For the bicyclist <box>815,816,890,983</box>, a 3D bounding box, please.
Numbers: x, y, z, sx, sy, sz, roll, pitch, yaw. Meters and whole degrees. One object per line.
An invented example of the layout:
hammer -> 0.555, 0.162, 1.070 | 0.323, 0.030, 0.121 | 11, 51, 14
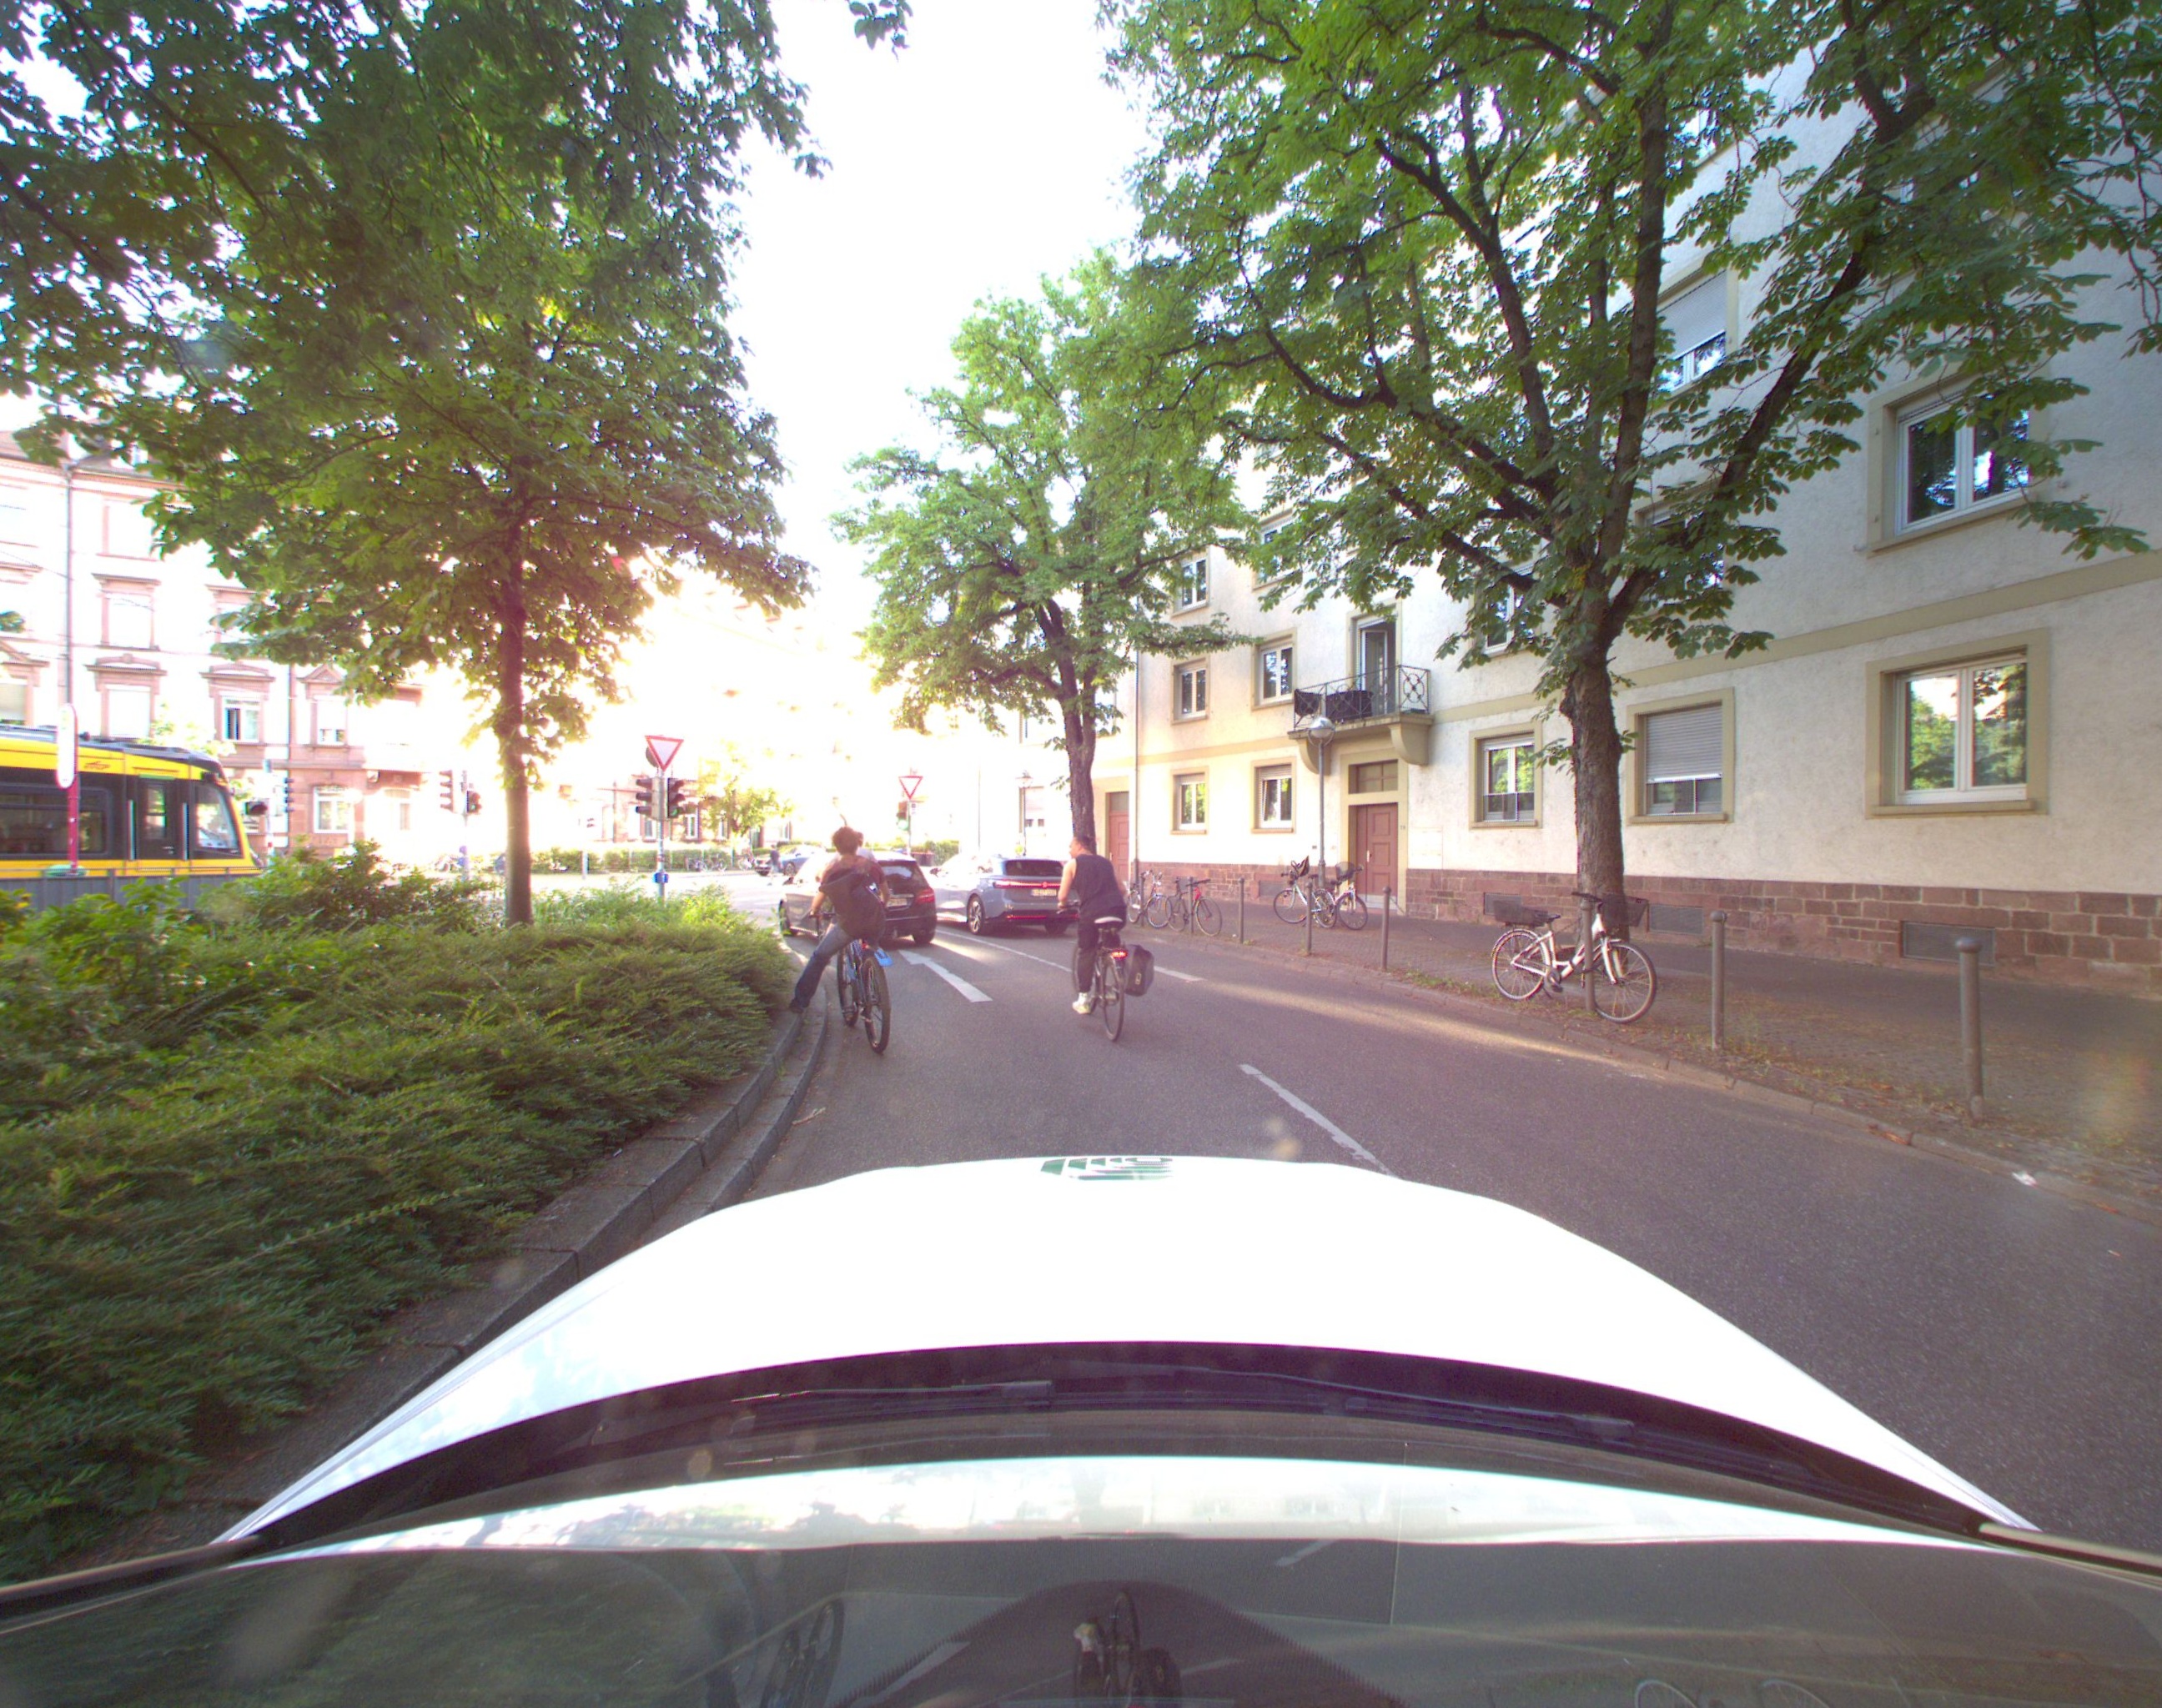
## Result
bicyclist -> -2.800, 0.525, 9.923 | 0.797, 1.913, 0.938 | 1, 0, -21

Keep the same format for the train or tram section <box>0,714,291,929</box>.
train or tram section -> -20.182, -0.561, 12.273 | 2.769, 3.619, 11.857 | 1, 0, 19

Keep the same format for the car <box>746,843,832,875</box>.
car -> -15.596, 0.230, 43.729 | 1.926, 1.650, 4.432 | 0, 0, 19

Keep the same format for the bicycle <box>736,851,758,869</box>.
bicycle -> -19.758, 0.365, 48.141 | 0.438, 1.038, 1.240 | 1, 1, 24

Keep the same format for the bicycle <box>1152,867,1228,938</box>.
bicycle -> 1.911, 0.816, 14.484 | 0.528, 1.107, 1.728 | -3, 2, -21

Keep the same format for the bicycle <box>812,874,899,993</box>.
bicycle -> -2.761, 0.867, 9.790 | 0.813, 1.184, 2.211 | 0, 0, -21

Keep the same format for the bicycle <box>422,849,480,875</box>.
bicycle -> -28.120, 0.378, 36.382 | 1.975, 1.107, 0.438 | 2, -1, -38

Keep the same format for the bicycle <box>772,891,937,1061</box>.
bicycle -> -1.958, 0.917, 6.825 | 0.722, 1.107, 1.946 | 1, 0, -35

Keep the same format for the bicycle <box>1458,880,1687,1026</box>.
bicycle -> 4.468, 0.836, 7.599 | 0.514, 1.095, 1.962 | -2, 1, -18

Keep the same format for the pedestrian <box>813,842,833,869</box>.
pedestrian -> -16.373, 0.106, 51.663 | 0.703, 1.664, 0.904 | 4, 2, 36

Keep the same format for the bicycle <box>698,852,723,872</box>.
bicycle -> -20.791, 0.426, 45.731 | 0.438, 1.107, 1.241 | 1, 1, 25

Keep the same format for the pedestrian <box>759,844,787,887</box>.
pedestrian -> -12.188, 0.441, 32.234 | 0.903, 1.635, 0.722 | 2, 1, -13

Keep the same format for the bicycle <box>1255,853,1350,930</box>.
bicycle -> 4.009, 0.642, 14.912 | 0.719, 1.277, 1.954 | -1, 1, -18

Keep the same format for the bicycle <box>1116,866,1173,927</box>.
bicycle -> 1.237, 0.815, 16.094 | 0.482, 1.063, 1.625 | -3, 2, -20

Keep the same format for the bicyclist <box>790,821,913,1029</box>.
bicyclist -> -1.919, 0.537, 6.761 | 0.712, 1.573, 0.947 | 1, 0, -34

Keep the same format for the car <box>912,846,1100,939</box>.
car -> -1.667, 0.671, 16.294 | 1.983, 1.585, 4.431 | 2, -1, -31

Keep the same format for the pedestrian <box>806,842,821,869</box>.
pedestrian -> -17.150, 0.101, 52.248 | 0.655, 1.715, 0.640 | 0, 0, 32

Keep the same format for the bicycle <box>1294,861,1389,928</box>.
bicycle -> 4.720, 0.706, 14.911 | 0.669, 1.107, 1.955 | 1, 0, -17

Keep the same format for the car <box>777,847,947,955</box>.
car -> -3.917, 0.691, 14.095 | 1.802, 1.542, 3.821 | -2, 1, -32

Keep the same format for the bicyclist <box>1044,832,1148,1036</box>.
bicyclist -> 0.105, 0.650, 7.218 | 0.687, 1.656, 0.985 | -1, 0, -13

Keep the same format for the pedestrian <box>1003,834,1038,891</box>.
pedestrian -> -1.897, 0.252, 25.547 | 0.648, 1.727, 0.878 | -3, 2, -37

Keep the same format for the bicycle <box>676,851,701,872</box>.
bicycle -> -21.418, 0.395, 44.441 | 0.438, 1.107, 1.241 | 1, 1, 25
